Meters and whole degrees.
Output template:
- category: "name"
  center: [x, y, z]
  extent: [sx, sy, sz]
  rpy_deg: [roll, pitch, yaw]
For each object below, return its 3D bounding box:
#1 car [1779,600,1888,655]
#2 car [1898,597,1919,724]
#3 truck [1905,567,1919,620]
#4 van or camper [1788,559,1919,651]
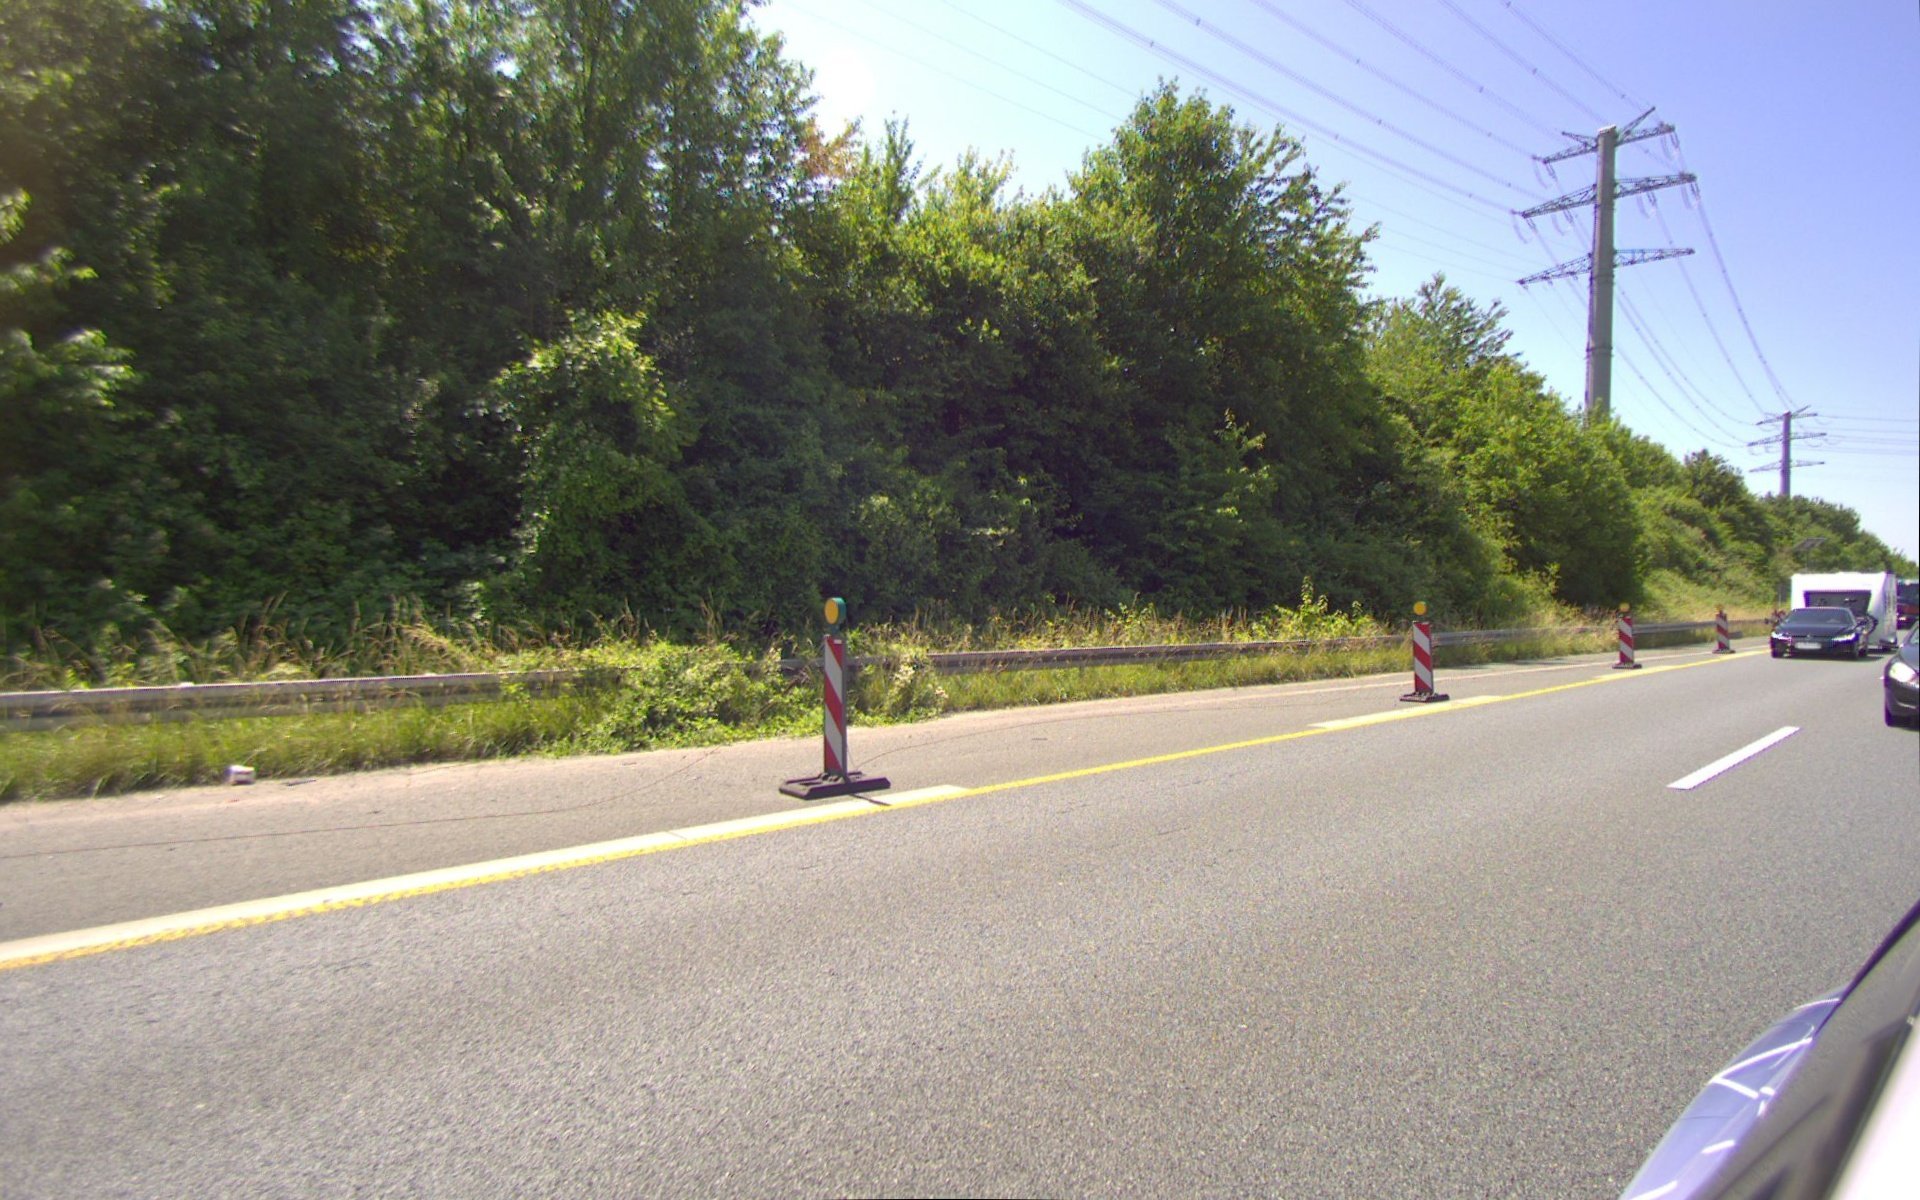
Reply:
- category: "car"
  center: [24.383, 0.711, 28.206]
  extent: [4.137, 1.425, 1.798]
  rpy_deg: [0, 0, -42]
- category: "car"
  center: [12.946, 0.695, 12.384]
  extent: [3.931, 1.459, 1.796]
  rpy_deg: [0, 0, -42]
- category: "truck"
  center: [60.873, -0.394, 62.745]
  extent: [7.512, 3.181, 2.429]
  rpy_deg: [0, -2, -40]
- category: "van or camper"
  center: [28.908, 0.136, 32.470]
  extent: [8.273, 2.597, 2.429]
  rpy_deg: [0, 0, -42]
